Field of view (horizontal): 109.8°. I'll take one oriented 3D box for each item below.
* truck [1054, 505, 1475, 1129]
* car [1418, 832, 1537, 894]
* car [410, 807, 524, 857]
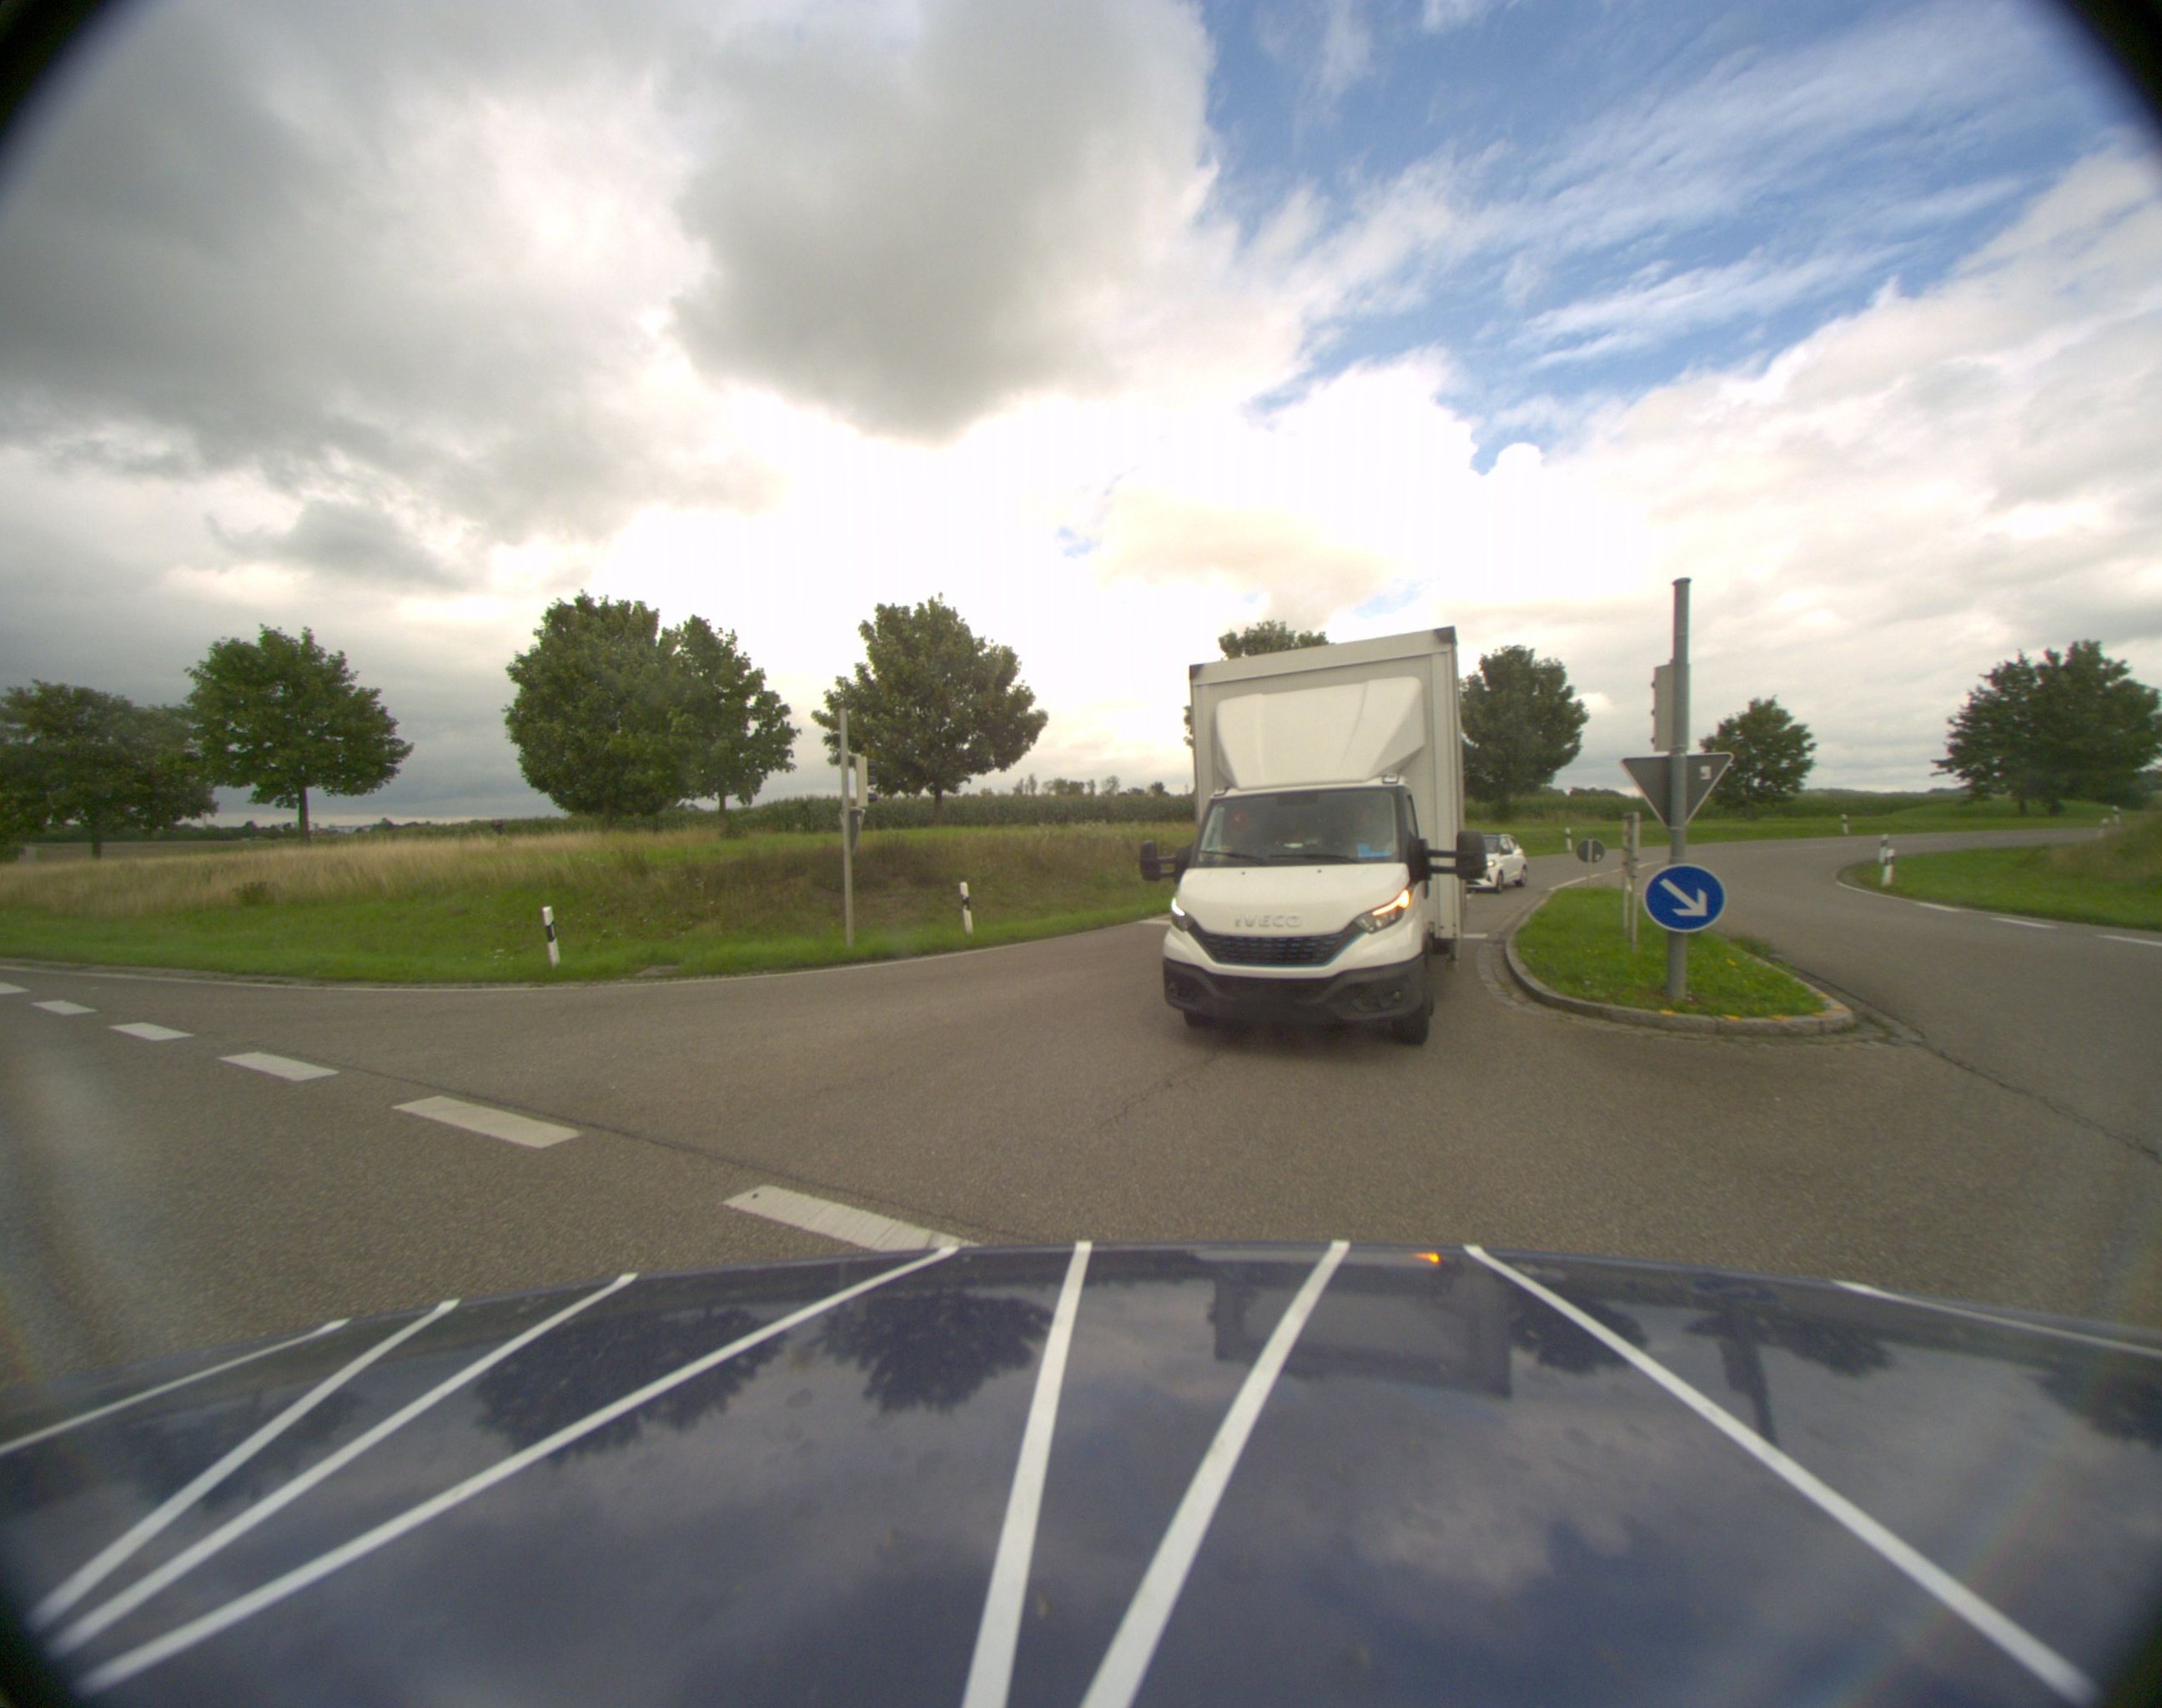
[{"bbox_3d":[3.126,-0.331,9.113,2.832,3.742,8.813,0,2,27],"label":"truck"},{"bbox_3d":[10.662,0.183,20.311,1.805,1.444,4.008,0,2,43],"label":"car"},{"bbox_3d":[-26.843,-0.963,33.236,3.991,2.003,2.002,-1,3,20],"label":"car"}]
